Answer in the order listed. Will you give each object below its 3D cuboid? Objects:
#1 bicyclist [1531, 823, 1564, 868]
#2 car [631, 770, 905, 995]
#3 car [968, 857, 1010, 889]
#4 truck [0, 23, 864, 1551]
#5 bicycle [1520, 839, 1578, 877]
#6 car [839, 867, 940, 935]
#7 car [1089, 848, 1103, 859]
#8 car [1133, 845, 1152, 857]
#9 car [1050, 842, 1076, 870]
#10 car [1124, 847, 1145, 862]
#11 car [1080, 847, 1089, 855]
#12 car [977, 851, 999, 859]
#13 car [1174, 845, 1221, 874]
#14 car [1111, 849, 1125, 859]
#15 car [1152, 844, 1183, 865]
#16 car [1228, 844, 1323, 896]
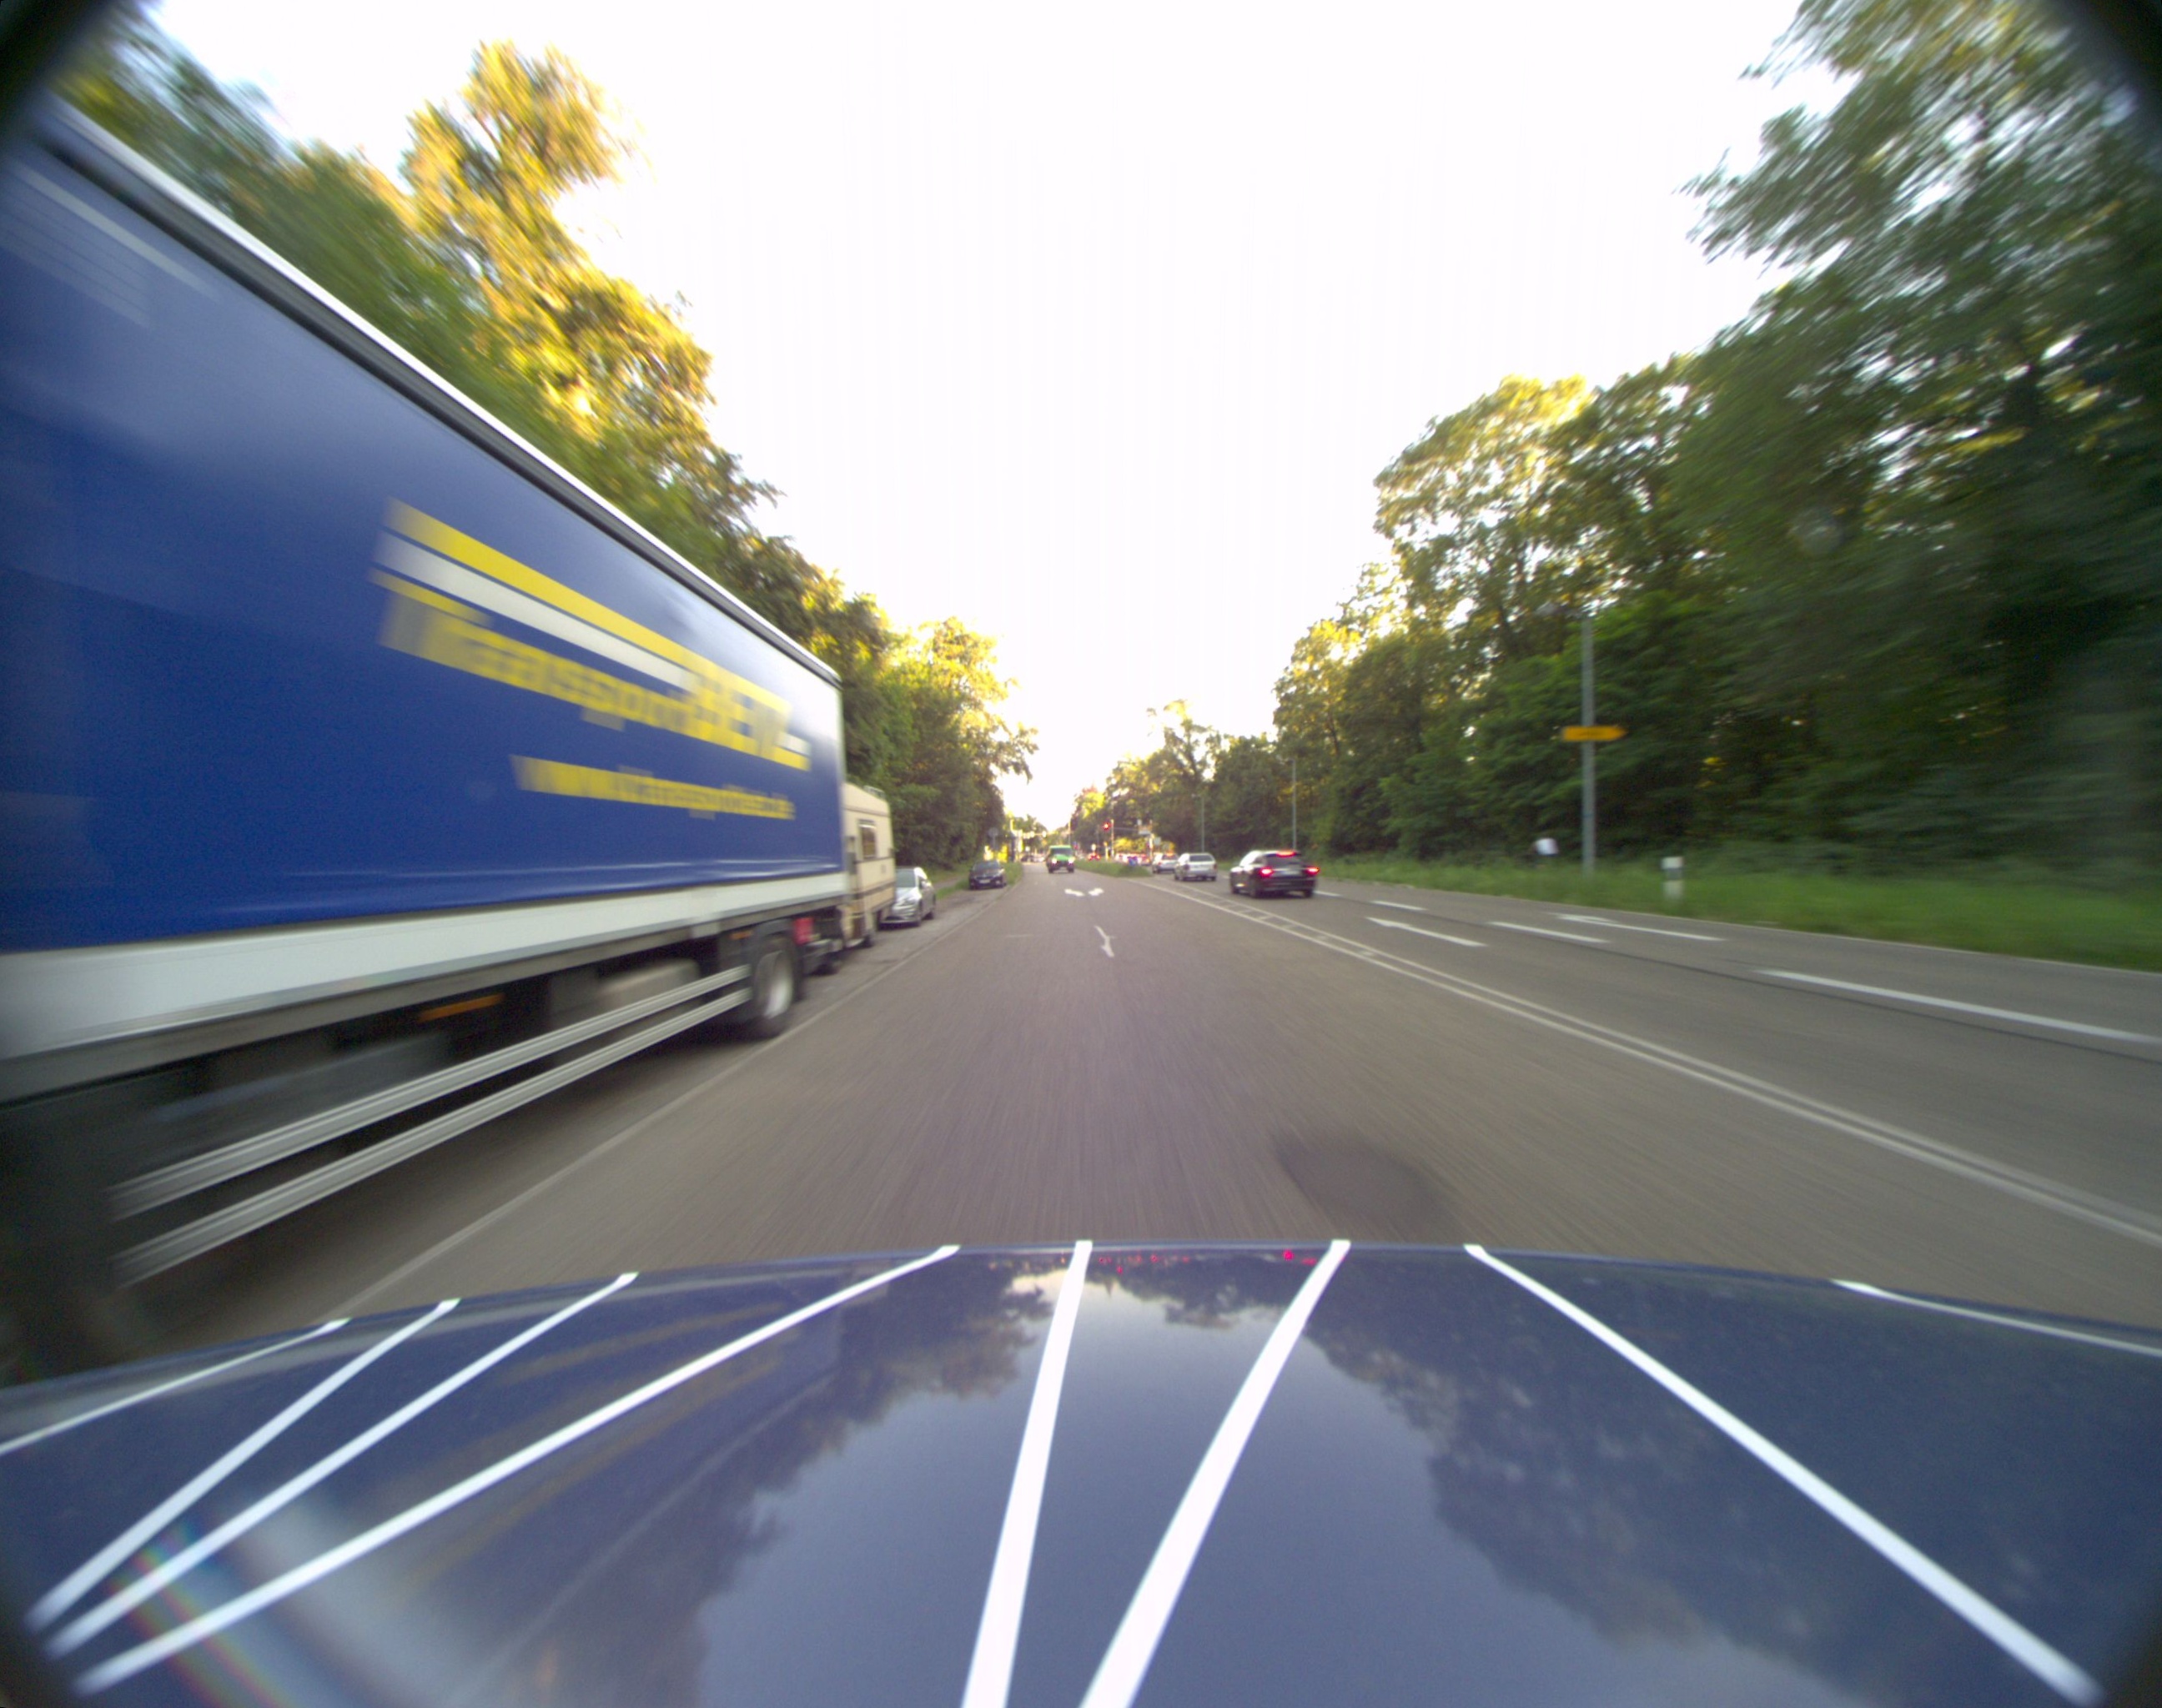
[{"bbox_3d":[15.825,-0.290,25.795,0.621,1.502,0.847,0,0,3],"label":"bicyclist"},{"bbox_3d":[-4.737,0.332,12.834,2.415,2.841,5.929,-2,1,-4],"label":"car"},{"bbox_3d":[-4.619,0.907,38.725,1.668,1.397,3.941,-3,1,-1],"label":"car"},{"bbox_3d":[-4.148,-0.196,4.732,2.664,4.004,9.721,-1,0,0],"label":"truck"},{"bbox_3d":[15.829,0.130,25.764,0.631,1.210,2.262,0,0,2],"label":"bicycle"},{"bbox_3d":[-4.693,1.094,19.171,1.703,1.398,4.074,-1,1,-3],"label":"car"},{"bbox_3d":[2.360,-0.115,122.173,1.819,1.618,4.449,1,0,-4],"label":"car"},{"bbox_3d":[7.847,-0.428,96.871,1.999,1.450,3.808,0,2,-1],"label":"car"},{"bbox_3d":[-1.627,0.196,66.140,2.044,2.264,5.939,-2,0,-3],"label":"car"},{"bbox_3d":[5.627,0.013,80.600,1.841,1.499,3.935,0,2,-2],"label":"car"},{"bbox_3d":[0.818,-0.645,181.757,1.862,1.835,4.118,-1,0,-5],"label":"car"},{"bbox_3d":[-17.700,0.221,144.693,3.999,1.527,1.661,-1,1,-5],"label":"car"},{"bbox_3d":[5.910,0.263,39.016,1.724,1.389,4.374,-1,0,1],"label":"car"},{"bbox_3d":[5.838,-0.029,119.991,1.826,1.604,4.640,1,1,-1],"label":"car"},{"bbox_3d":[6.203,0.052,54.887,1.720,1.437,4.173,-1,0,0],"label":"car"},{"bbox_3d":[6.097,0.450,24.397,1.896,1.432,4.769,-2,0,1],"label":"car"}]
